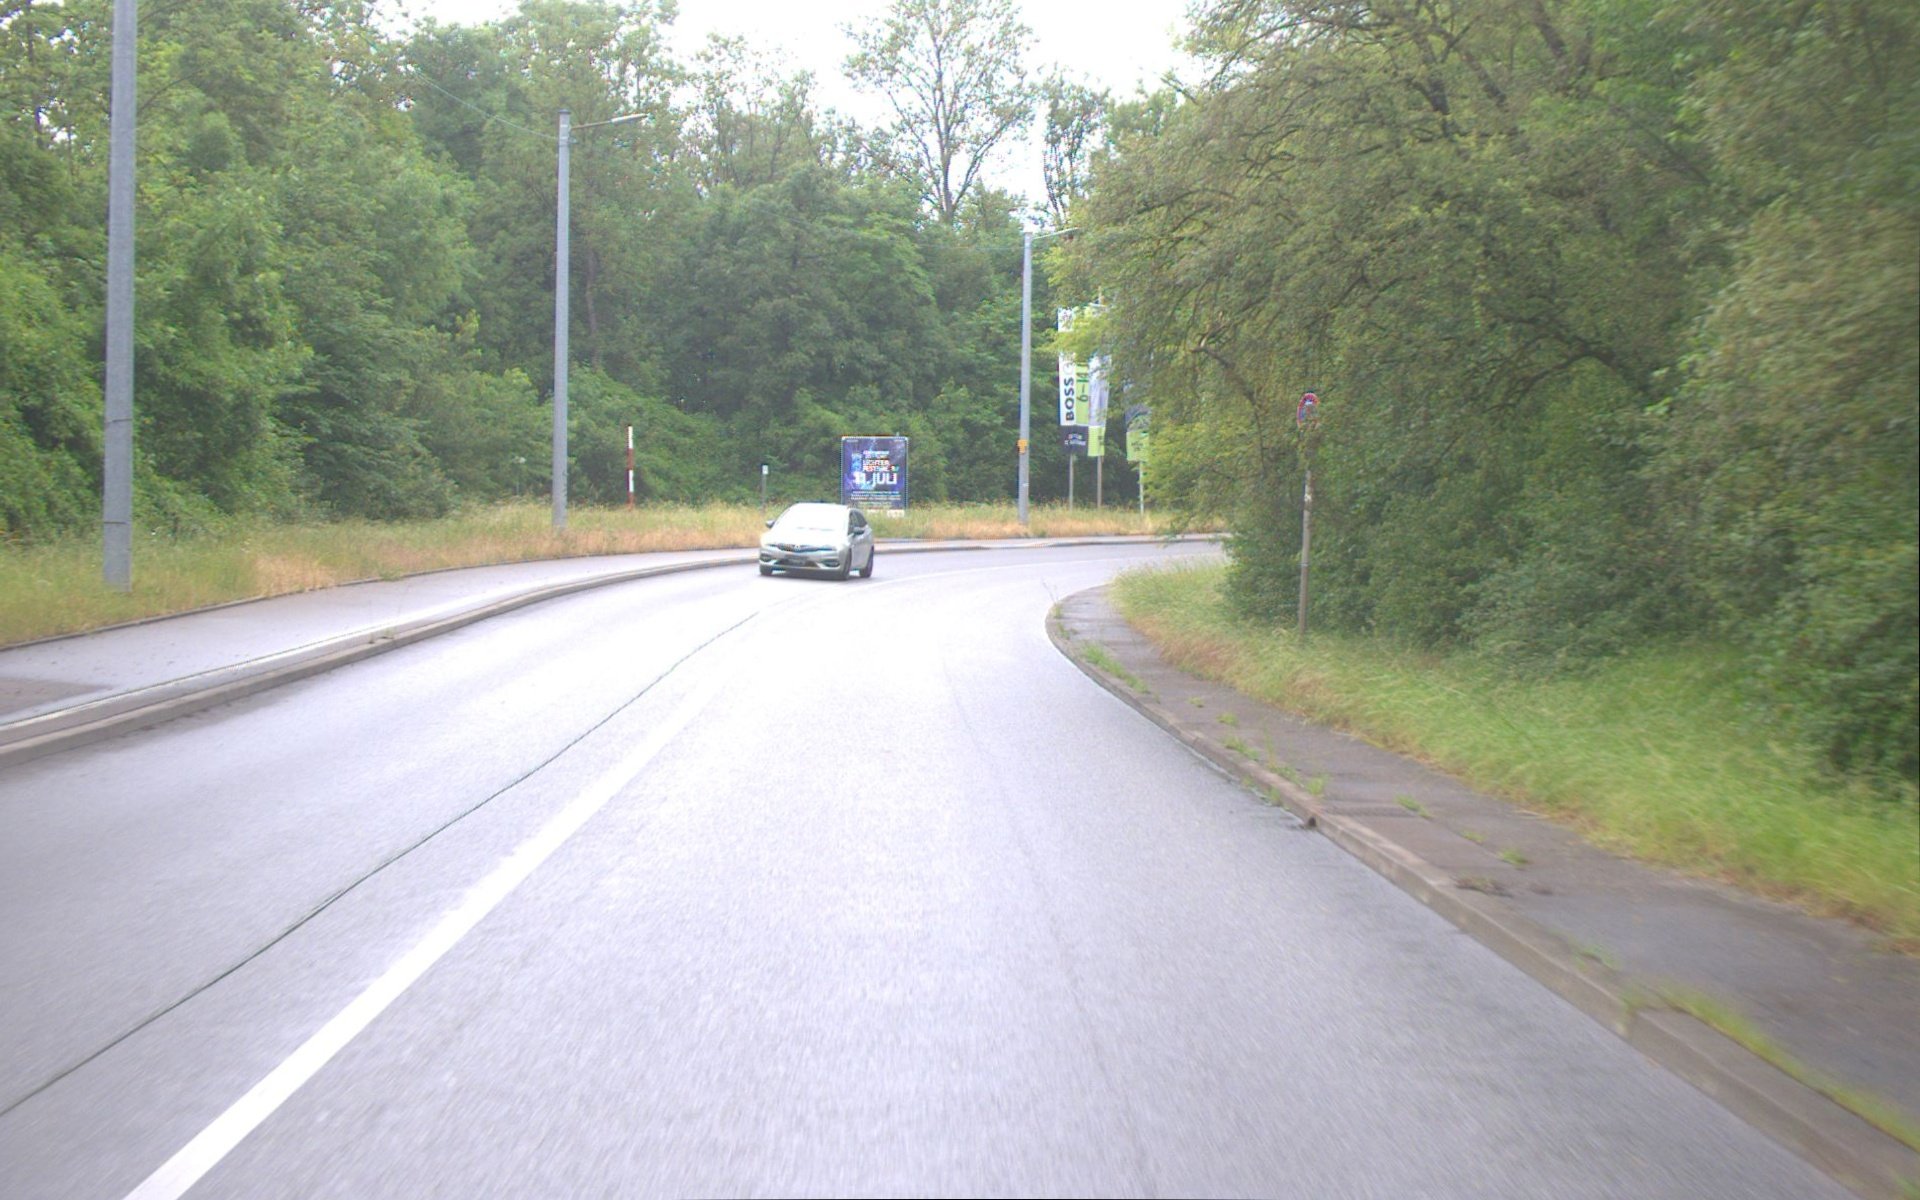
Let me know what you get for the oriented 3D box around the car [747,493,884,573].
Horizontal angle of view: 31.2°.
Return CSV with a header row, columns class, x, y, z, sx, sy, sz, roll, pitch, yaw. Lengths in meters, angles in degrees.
class,x,y,z,sx,sy,sz,roll,pitch,yaw
car,-2.885,-1.384,69.571,1.781,1.425,4.473,4,3,9
